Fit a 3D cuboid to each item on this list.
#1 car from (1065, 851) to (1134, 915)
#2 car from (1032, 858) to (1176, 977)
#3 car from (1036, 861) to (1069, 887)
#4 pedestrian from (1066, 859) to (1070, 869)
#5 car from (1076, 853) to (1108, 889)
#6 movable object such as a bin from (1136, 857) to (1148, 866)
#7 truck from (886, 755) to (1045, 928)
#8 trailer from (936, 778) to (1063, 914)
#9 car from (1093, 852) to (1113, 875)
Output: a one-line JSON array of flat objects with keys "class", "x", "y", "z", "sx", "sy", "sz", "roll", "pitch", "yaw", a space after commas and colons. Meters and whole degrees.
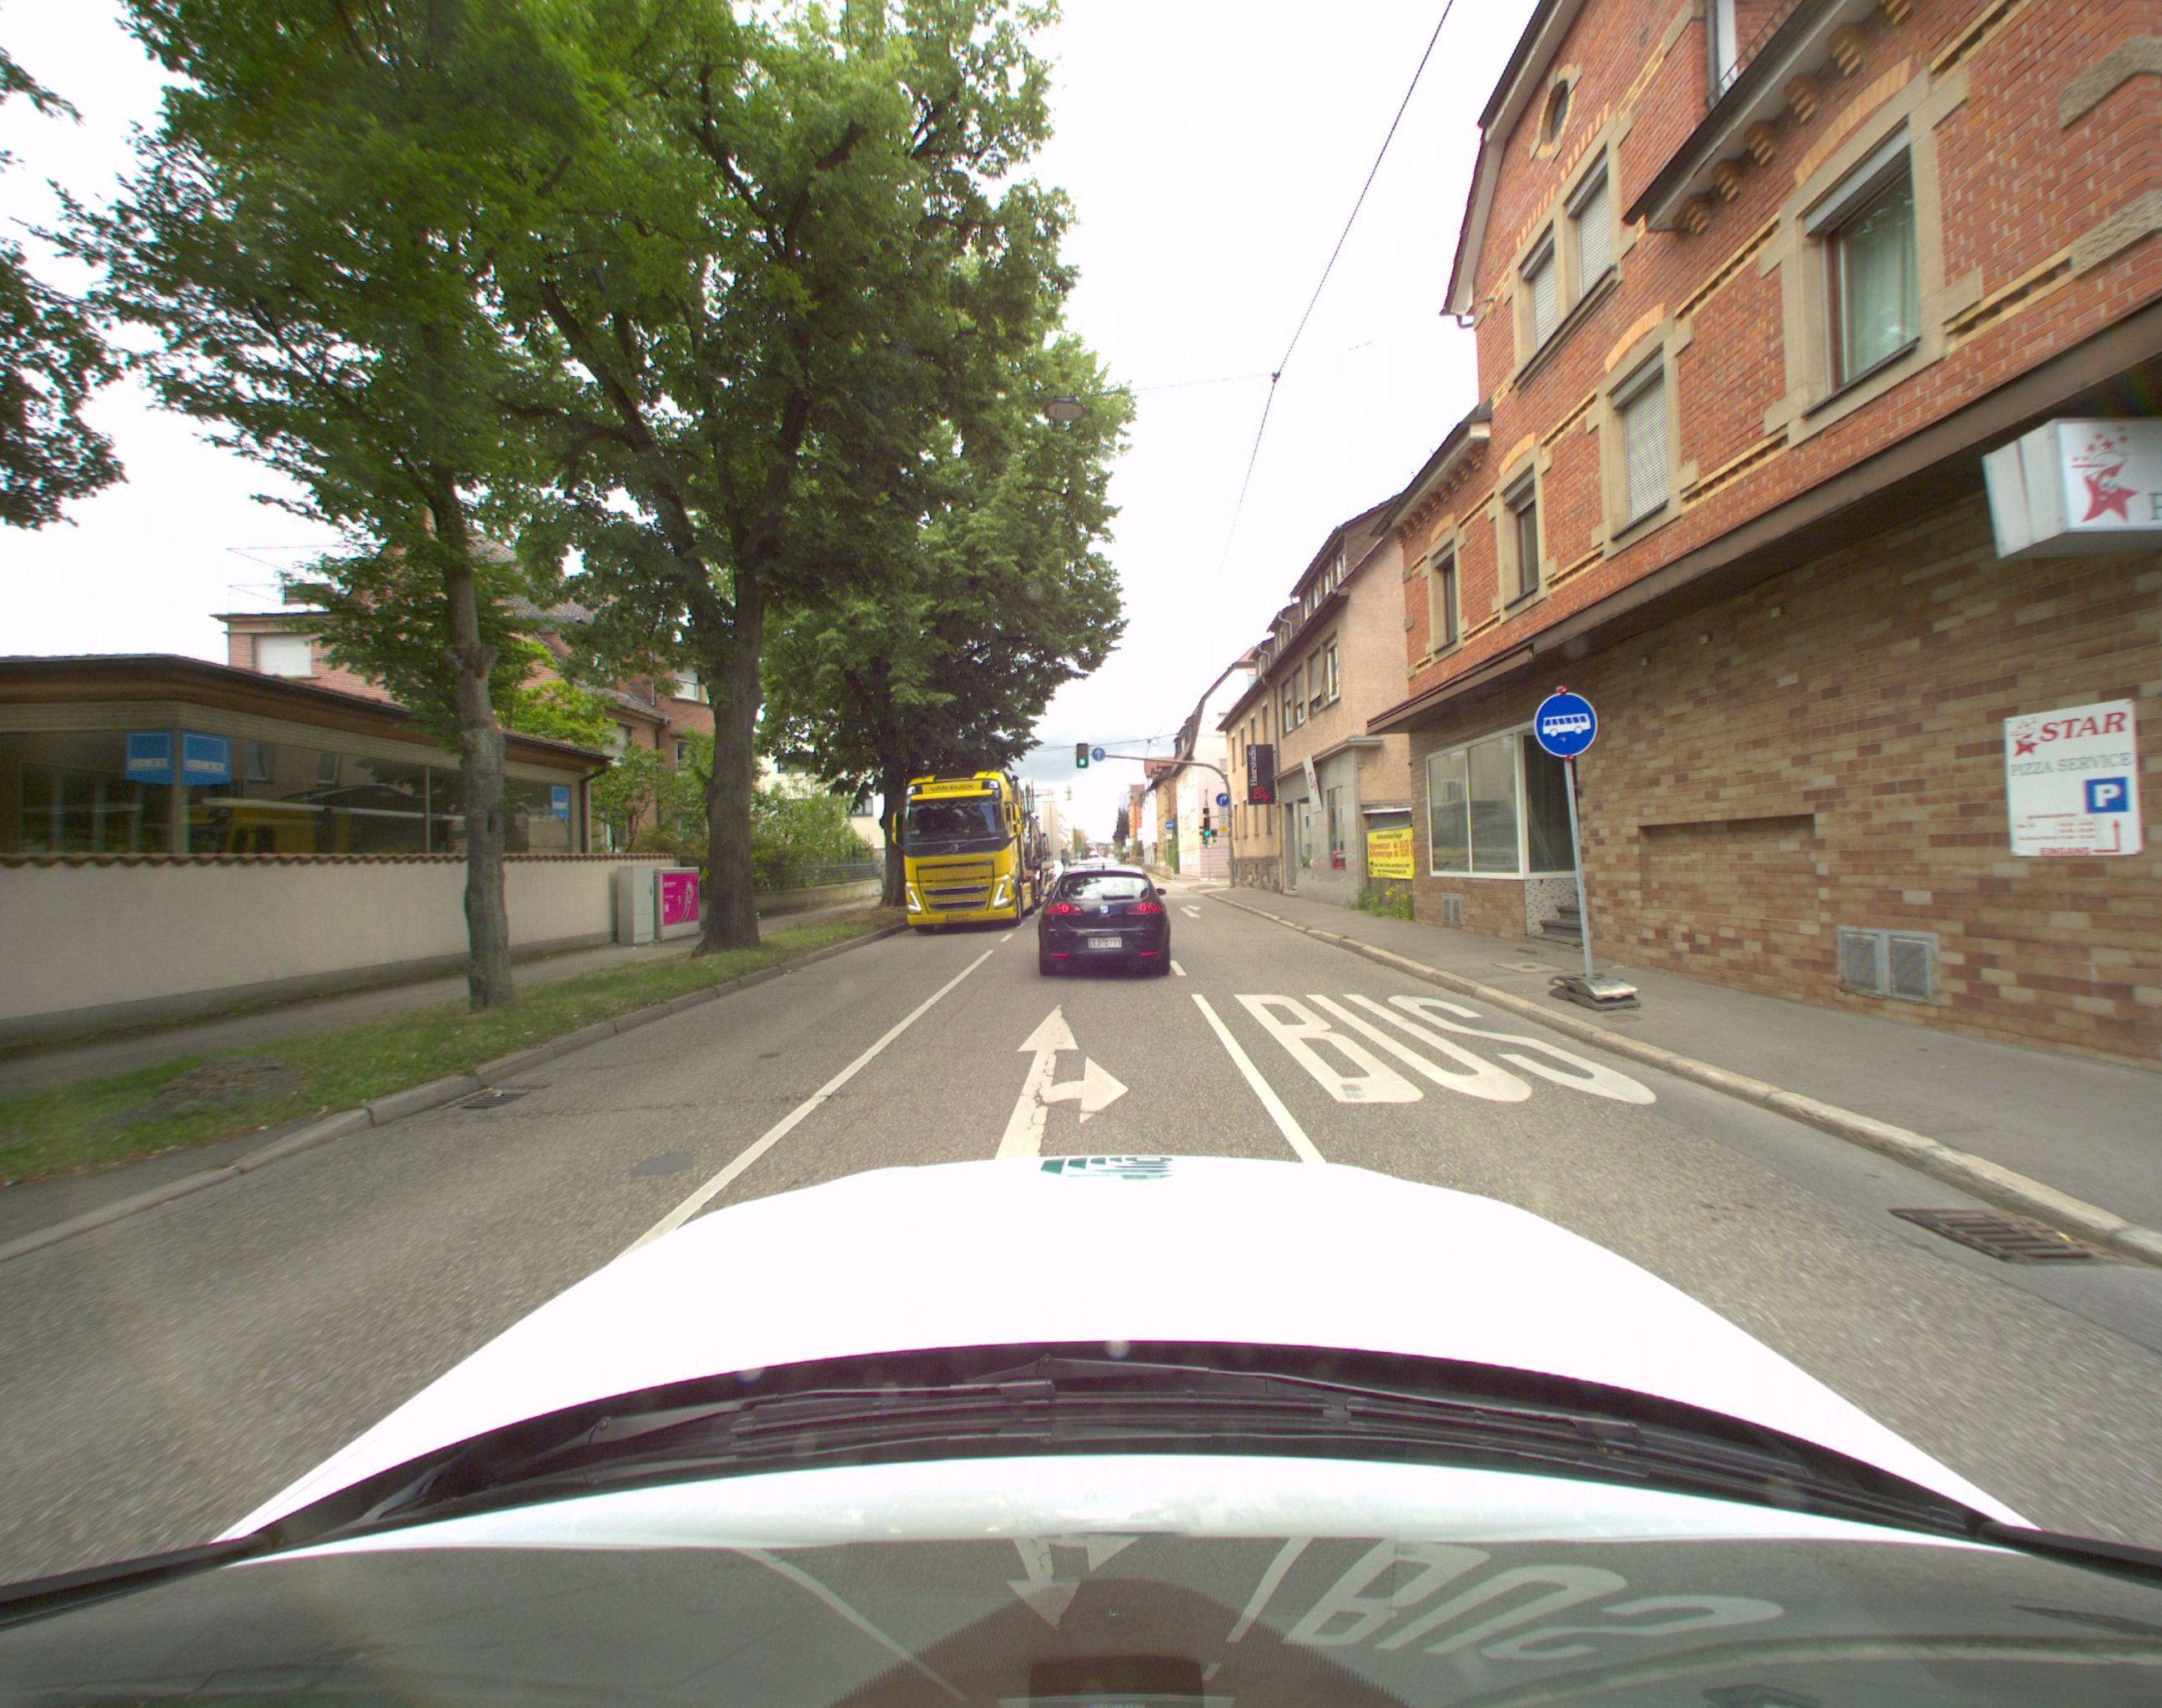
[{"class": "car", "x": 0.544, "y": 0.814, "z": 24.139, "sx": 1.836, "sy": 1.693, "sz": 4.000, "roll": -1, "pitch": -1, "yaw": 1}, {"class": "car", "x": 0.333, "y": 0.809, "z": 12.063, "sx": 1.753, "sy": 1.442, "sz": 4.001, "roll": -1, "pitch": -1, "yaw": 1}, {"class": "car", "x": -1.794, "y": 1.272, "z": 52.858, "sx": 1.760, "sy": 1.470, "sz": 4.228, "roll": -5, "pitch": -1, "yaw": 2}, {"class": "pedestrian", "x": -2.232, "y": 1.687, "z": 142.081, "sx": 0.728, "sy": 1.729, "sz": 0.859, "roll": -1, "pitch": -1, "yaw": 0}, {"class": "car", "x": 0.580, "y": 0.845, "z": 41.215, "sx": 1.526, "sy": 1.693, "sz": 3.693, "roll": -1, "pitch": -1, "yaw": 1}, {"class": "movable object such as a bin", "x": 9.984, "y": 1.240, "z": 133.207, "sx": 1.811, "sy": 1.437, "sz": 1.994, "roll": -1, "pitch": -1, "yaw": 2}, {"class": "truck", "x": -2.715, "y": -0.225, "z": 21.727, "sx": 2.833, "sy": 3.782, "sz": 7.672, "roll": -1, "pitch": -1, "yaw": 2}, {"class": "trailer", "x": -2.471, "y": -0.136, "z": 30.244, "sx": 2.847, "sy": 3.808, "sz": 14.395, "roll": -1, "pitch": -1, "yaw": 2}, {"class": "car", "x": 1.746, "y": 0.762, "z": 64.891, "sx": 1.526, "sy": 1.693, "sz": 3.693, "roll": -1, "pitch": -1, "yaw": 1}]
